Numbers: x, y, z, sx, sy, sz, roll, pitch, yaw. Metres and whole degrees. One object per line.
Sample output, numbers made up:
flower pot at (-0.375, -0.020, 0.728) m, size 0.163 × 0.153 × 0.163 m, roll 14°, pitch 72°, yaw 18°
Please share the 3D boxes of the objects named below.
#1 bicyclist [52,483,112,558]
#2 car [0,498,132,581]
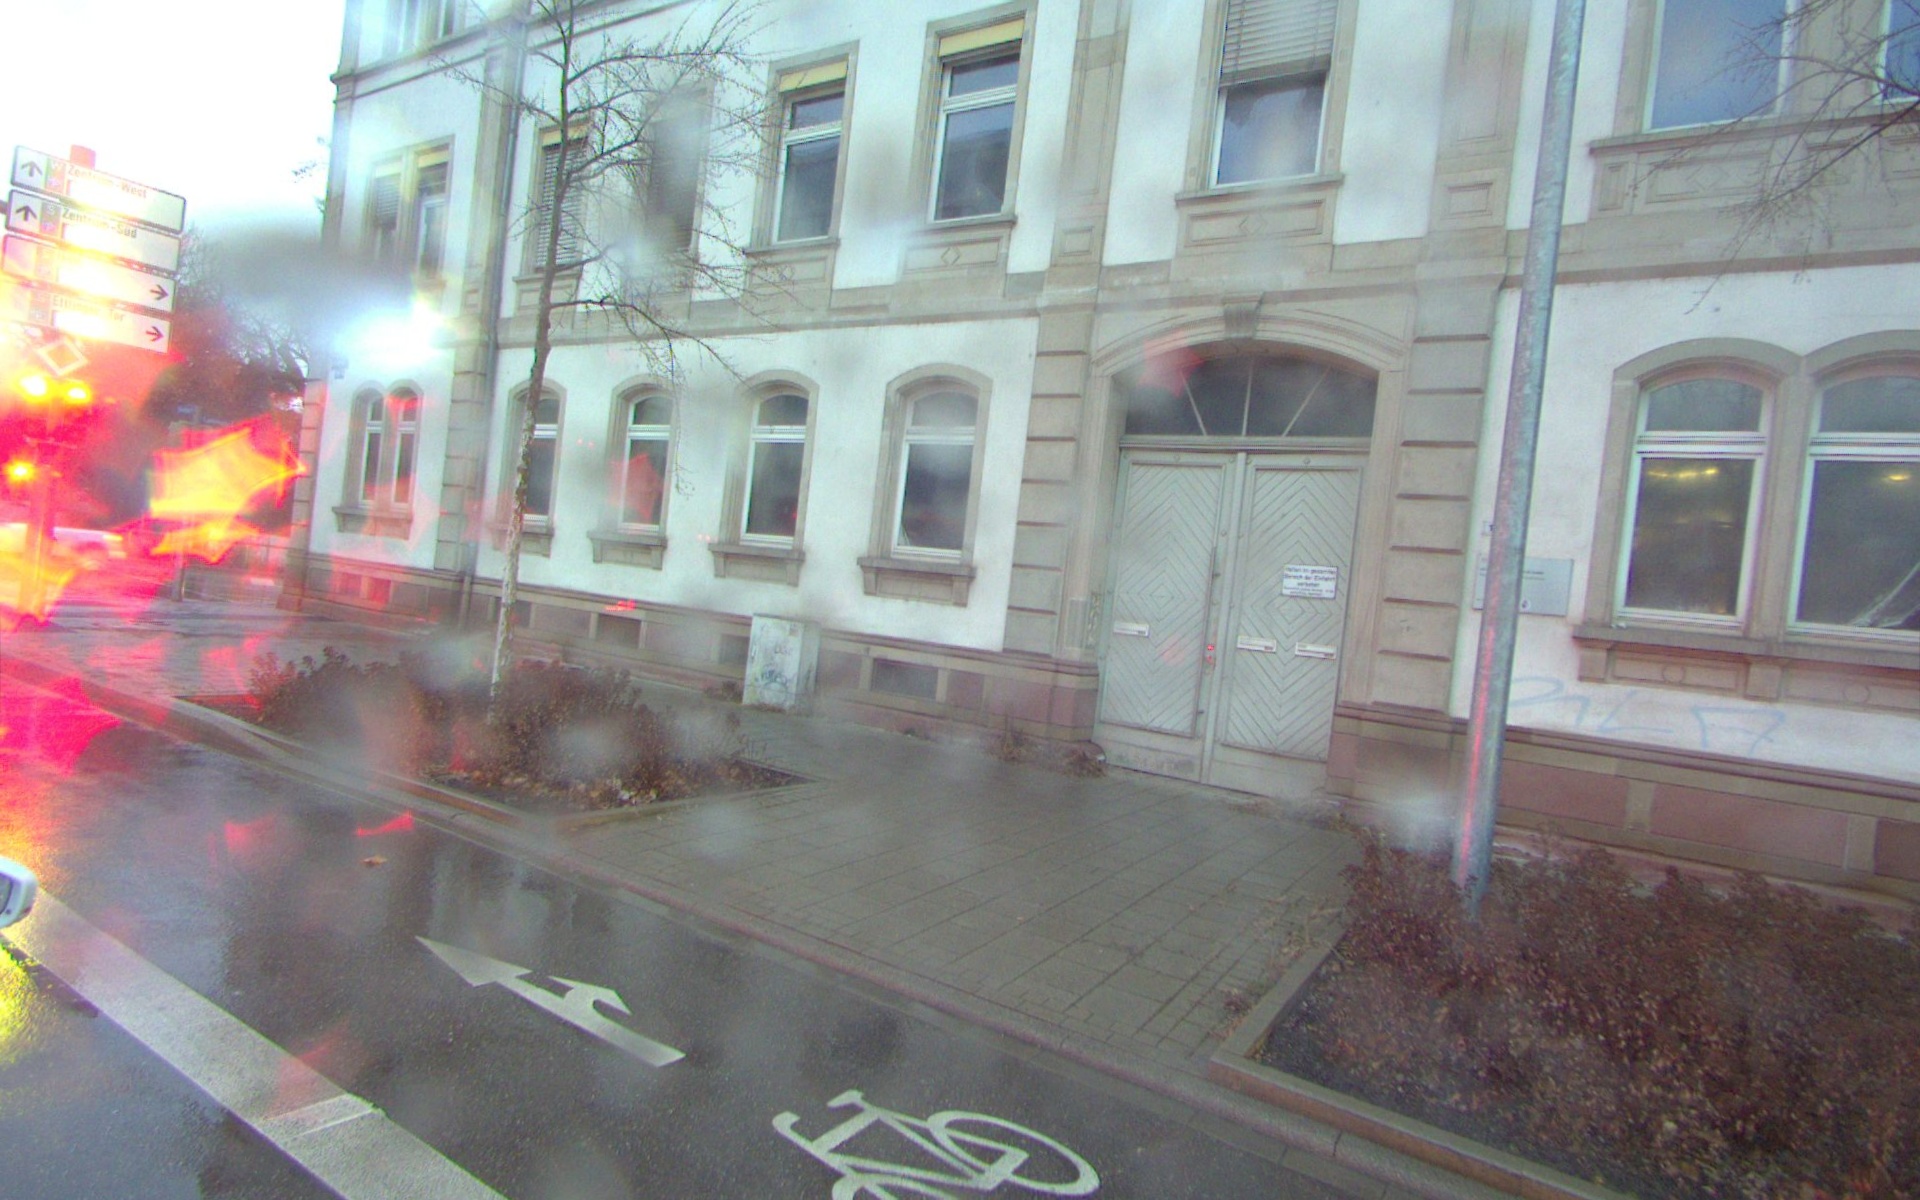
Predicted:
bicyclist at (-22.861, -2.062, 26.198) m, size 0.969 × 1.778 × 0.804 m, roll 9°, pitch -2°, yaw -43°
car at (-21.294, -1.465, 22.768) m, size 1.607 × 1.494 × 3.683 m, roll 5°, pitch -4°, yaw 43°
